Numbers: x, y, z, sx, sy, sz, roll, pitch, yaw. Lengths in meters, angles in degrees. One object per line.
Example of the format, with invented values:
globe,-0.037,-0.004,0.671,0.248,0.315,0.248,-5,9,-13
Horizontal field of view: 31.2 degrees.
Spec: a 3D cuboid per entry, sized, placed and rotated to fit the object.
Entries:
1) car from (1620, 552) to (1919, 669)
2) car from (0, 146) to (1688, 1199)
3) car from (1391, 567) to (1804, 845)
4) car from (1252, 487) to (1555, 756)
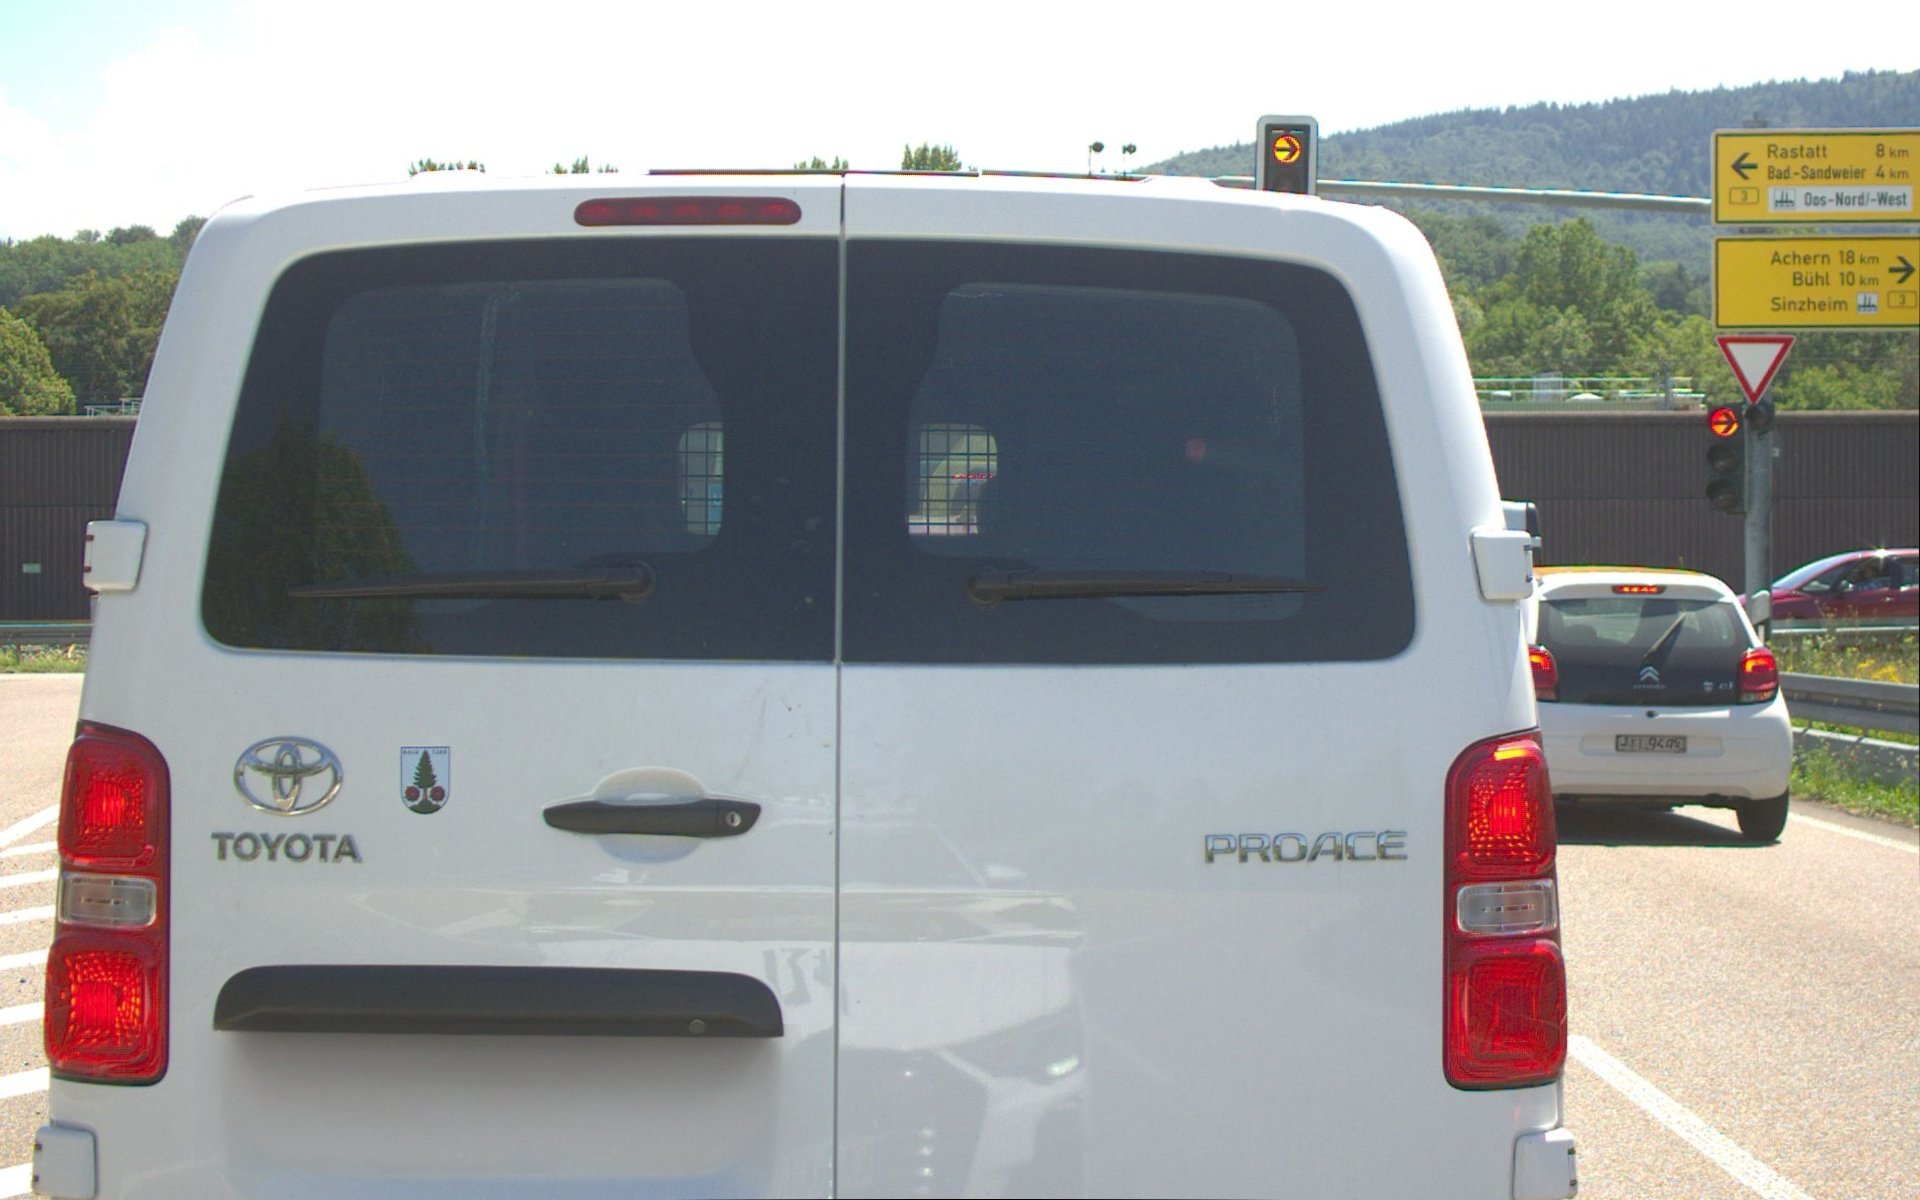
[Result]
car,11.953,0.144,49.823,4.309,1.651,2.000,0,1,-3
car,-0.219,0.449,5.654,1.886,1.880,4.000,1,1,-1
car,3.536,0.540,19.613,1.656,1.426,3.366,1,1,-1
car,3.531,0.137,28.199,1.928,1.993,4.837,1,1,1
